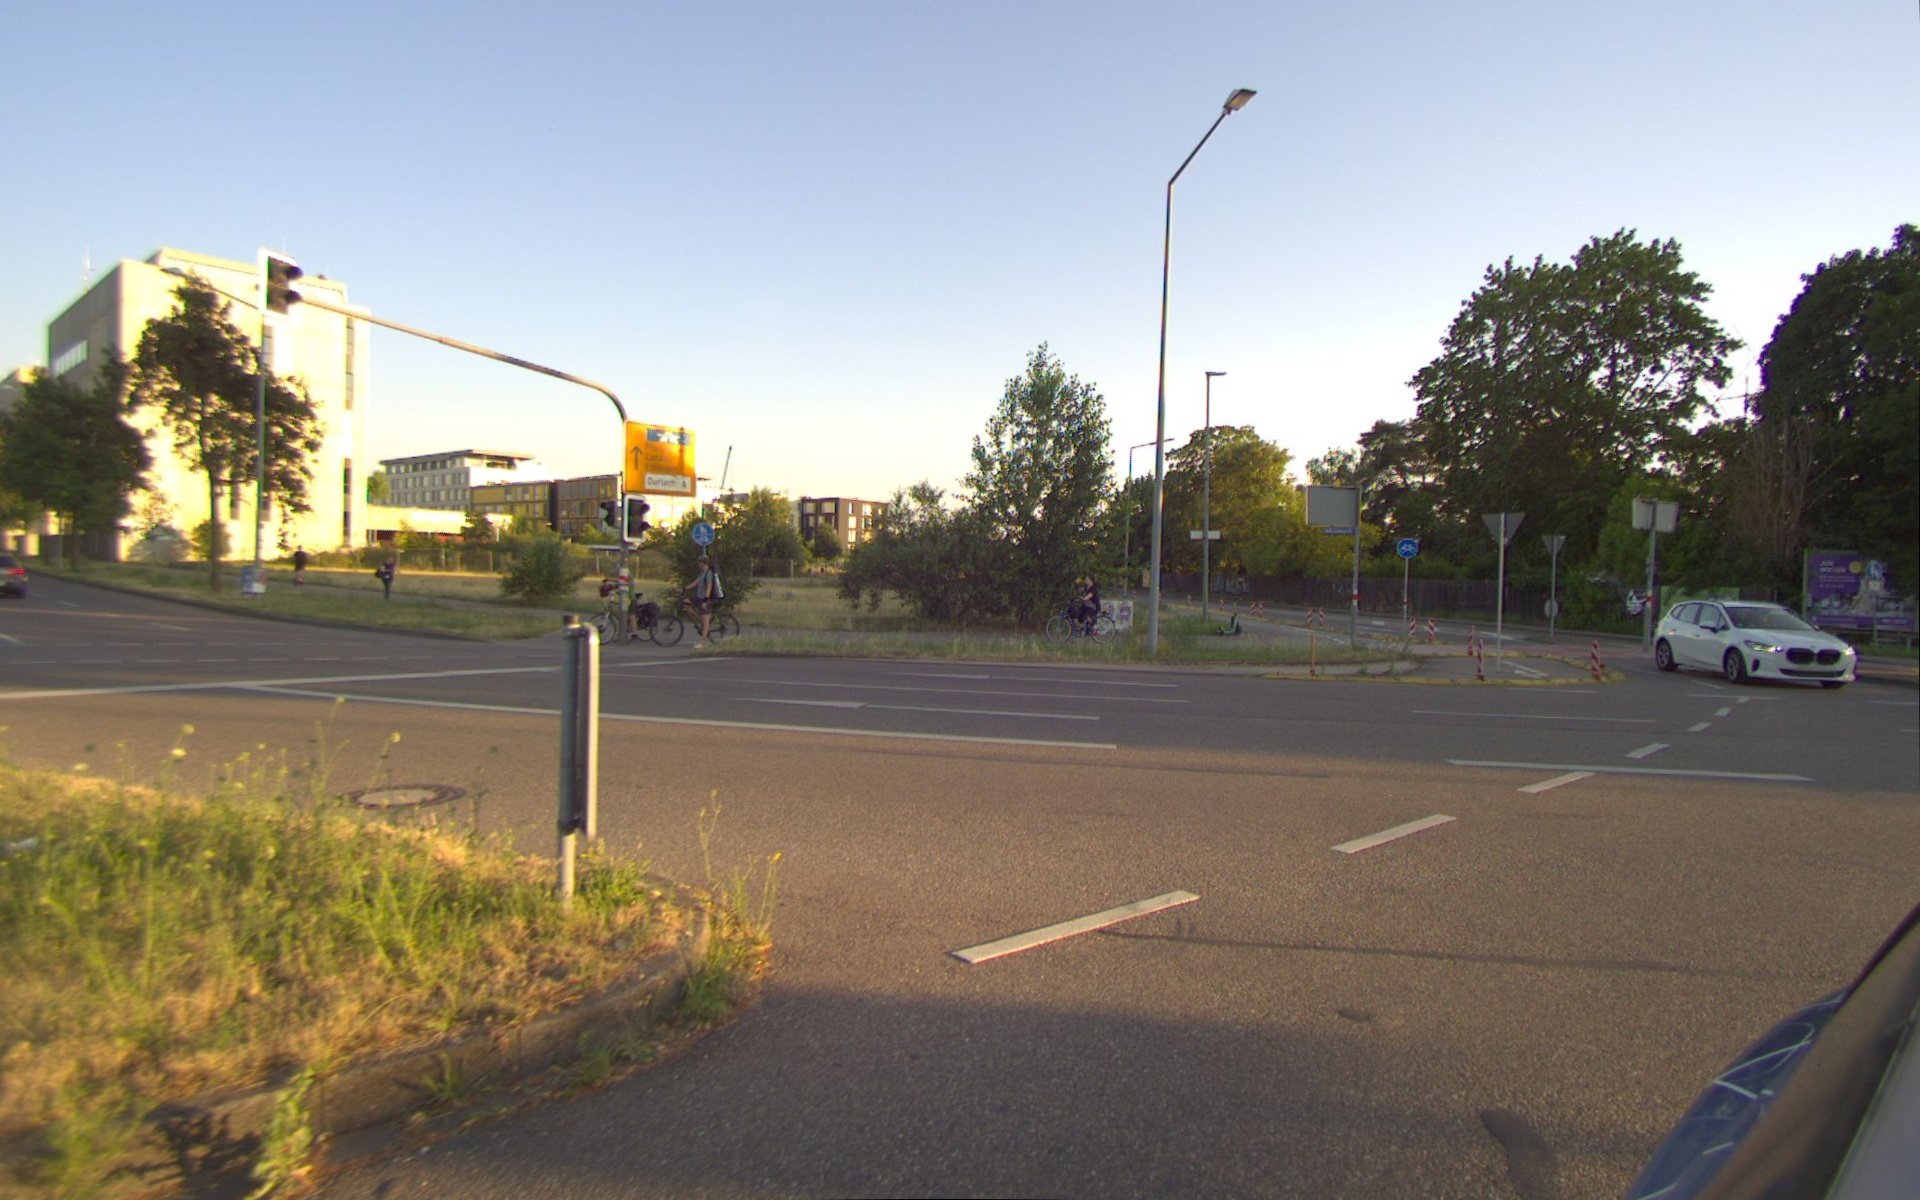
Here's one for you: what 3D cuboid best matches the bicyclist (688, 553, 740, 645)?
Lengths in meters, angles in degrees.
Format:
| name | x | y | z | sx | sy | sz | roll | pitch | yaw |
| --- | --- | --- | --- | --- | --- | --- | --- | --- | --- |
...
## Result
| name | x | y | z | sx | sy | sz | roll | pitch | yaw |
| --- | --- | --- | --- | --- | --- | --- | --- | --- | --- |
| bicyclist | -5.261 | -0.047 | 21.645 | 0.638 | 1.920 | 0.898 | 3 | 3 | 37 |

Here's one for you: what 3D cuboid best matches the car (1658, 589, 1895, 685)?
| name | x | y | z | sx | sy | sz | roll | pitch | yaw |
| --- | --- | --- | --- | --- | --- | --- | --- | --- | --- |
| car | 15.953 | 0.635 | 20.091 | 1.861 | 1.577 | 4.083 | 2 | 2 | 11 |

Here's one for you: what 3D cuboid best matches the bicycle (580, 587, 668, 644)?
| name | x | y | z | sx | sy | sz | roll | pitch | yaw |
| --- | --- | --- | --- | --- | --- | --- | --- | --- | --- |
| bicycle | -7.344 | 0.314 | 22.174 | 0.454 | 1.098 | 1.903 | 3 | 4 | 37 |

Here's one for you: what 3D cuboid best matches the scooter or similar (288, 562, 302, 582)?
| name | x | y | z | sx | sy | sz | roll | pitch | yaw |
| --- | --- | --- | --- | --- | --- | --- | --- | --- | --- |
| scooter or similar | -31.031 | -1.315 | 47.221 | 1.035 | 0.925 | 0.243 | 3 | 2 | 41 |

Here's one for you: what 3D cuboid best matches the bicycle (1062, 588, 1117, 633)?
| name | x | y | z | sx | sy | sz | roll | pitch | yaw |
| --- | --- | --- | --- | --- | --- | --- | --- | --- | --- |
| bicycle | 3.263 | 0.260 | 25.577 | 1.343 | 1.102 | 0.281 | 1 | 1 | -16 |

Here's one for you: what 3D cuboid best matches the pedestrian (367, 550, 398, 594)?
| name | x | y | z | sx | sy | sz | roll | pitch | yaw |
| --- | --- | --- | --- | --- | --- | --- | --- | --- | --- |
| pedestrian | -20.546 | -0.992 | 36.007 | 0.565 | 1.569 | 0.785 | 2 | 2 | 40 |

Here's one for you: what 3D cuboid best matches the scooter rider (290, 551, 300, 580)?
| name | x | y | z | sx | sy | sz | roll | pitch | yaw |
| --- | --- | --- | --- | --- | --- | --- | --- | --- | --- |
| scooter rider | -30.999 | -1.603 | 47.197 | 0.405 | 1.355 | 0.261 | 3 | 1 | 40 |

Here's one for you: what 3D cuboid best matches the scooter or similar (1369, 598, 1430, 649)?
| name | x | y | z | sx | sy | sz | roll | pitch | yaw |
| --- | --- | --- | --- | --- | --- | --- | --- | --- | --- |
| scooter or similar | 10.721 | 0.575 | 24.697 | 1.354 | 1.177 | 0.443 | 1 | 1 | -15 |

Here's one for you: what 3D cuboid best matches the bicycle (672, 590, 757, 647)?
| name | x | y | z | sx | sy | sz | roll | pitch | yaw |
| --- | --- | --- | --- | --- | --- | --- | --- | --- | --- |
| bicycle | -5.238 | 0.379 | 21.703 | 0.454 | 1.098 | 1.903 | 3 | 3 | 37 |

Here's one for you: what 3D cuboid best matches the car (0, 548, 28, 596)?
| name | x | y | z | sx | sy | sz | roll | pitch | yaw |
| --- | --- | --- | --- | --- | --- | --- | --- | --- | --- |
| car | -31.425 | -0.948 | 32.758 | 1.721 | 1.441 | 4.129 | 1 | 2 | -41 |

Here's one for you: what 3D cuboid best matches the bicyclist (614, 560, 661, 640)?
| name | x | y | z | sx | sy | sz | roll | pitch | yaw |
| --- | --- | --- | --- | --- | --- | --- | --- | --- | --- |
| bicyclist | -7.137 | -0.022 | 22.420 | 0.638 | 1.722 | 0.760 | 3 | 4 | 37 |
